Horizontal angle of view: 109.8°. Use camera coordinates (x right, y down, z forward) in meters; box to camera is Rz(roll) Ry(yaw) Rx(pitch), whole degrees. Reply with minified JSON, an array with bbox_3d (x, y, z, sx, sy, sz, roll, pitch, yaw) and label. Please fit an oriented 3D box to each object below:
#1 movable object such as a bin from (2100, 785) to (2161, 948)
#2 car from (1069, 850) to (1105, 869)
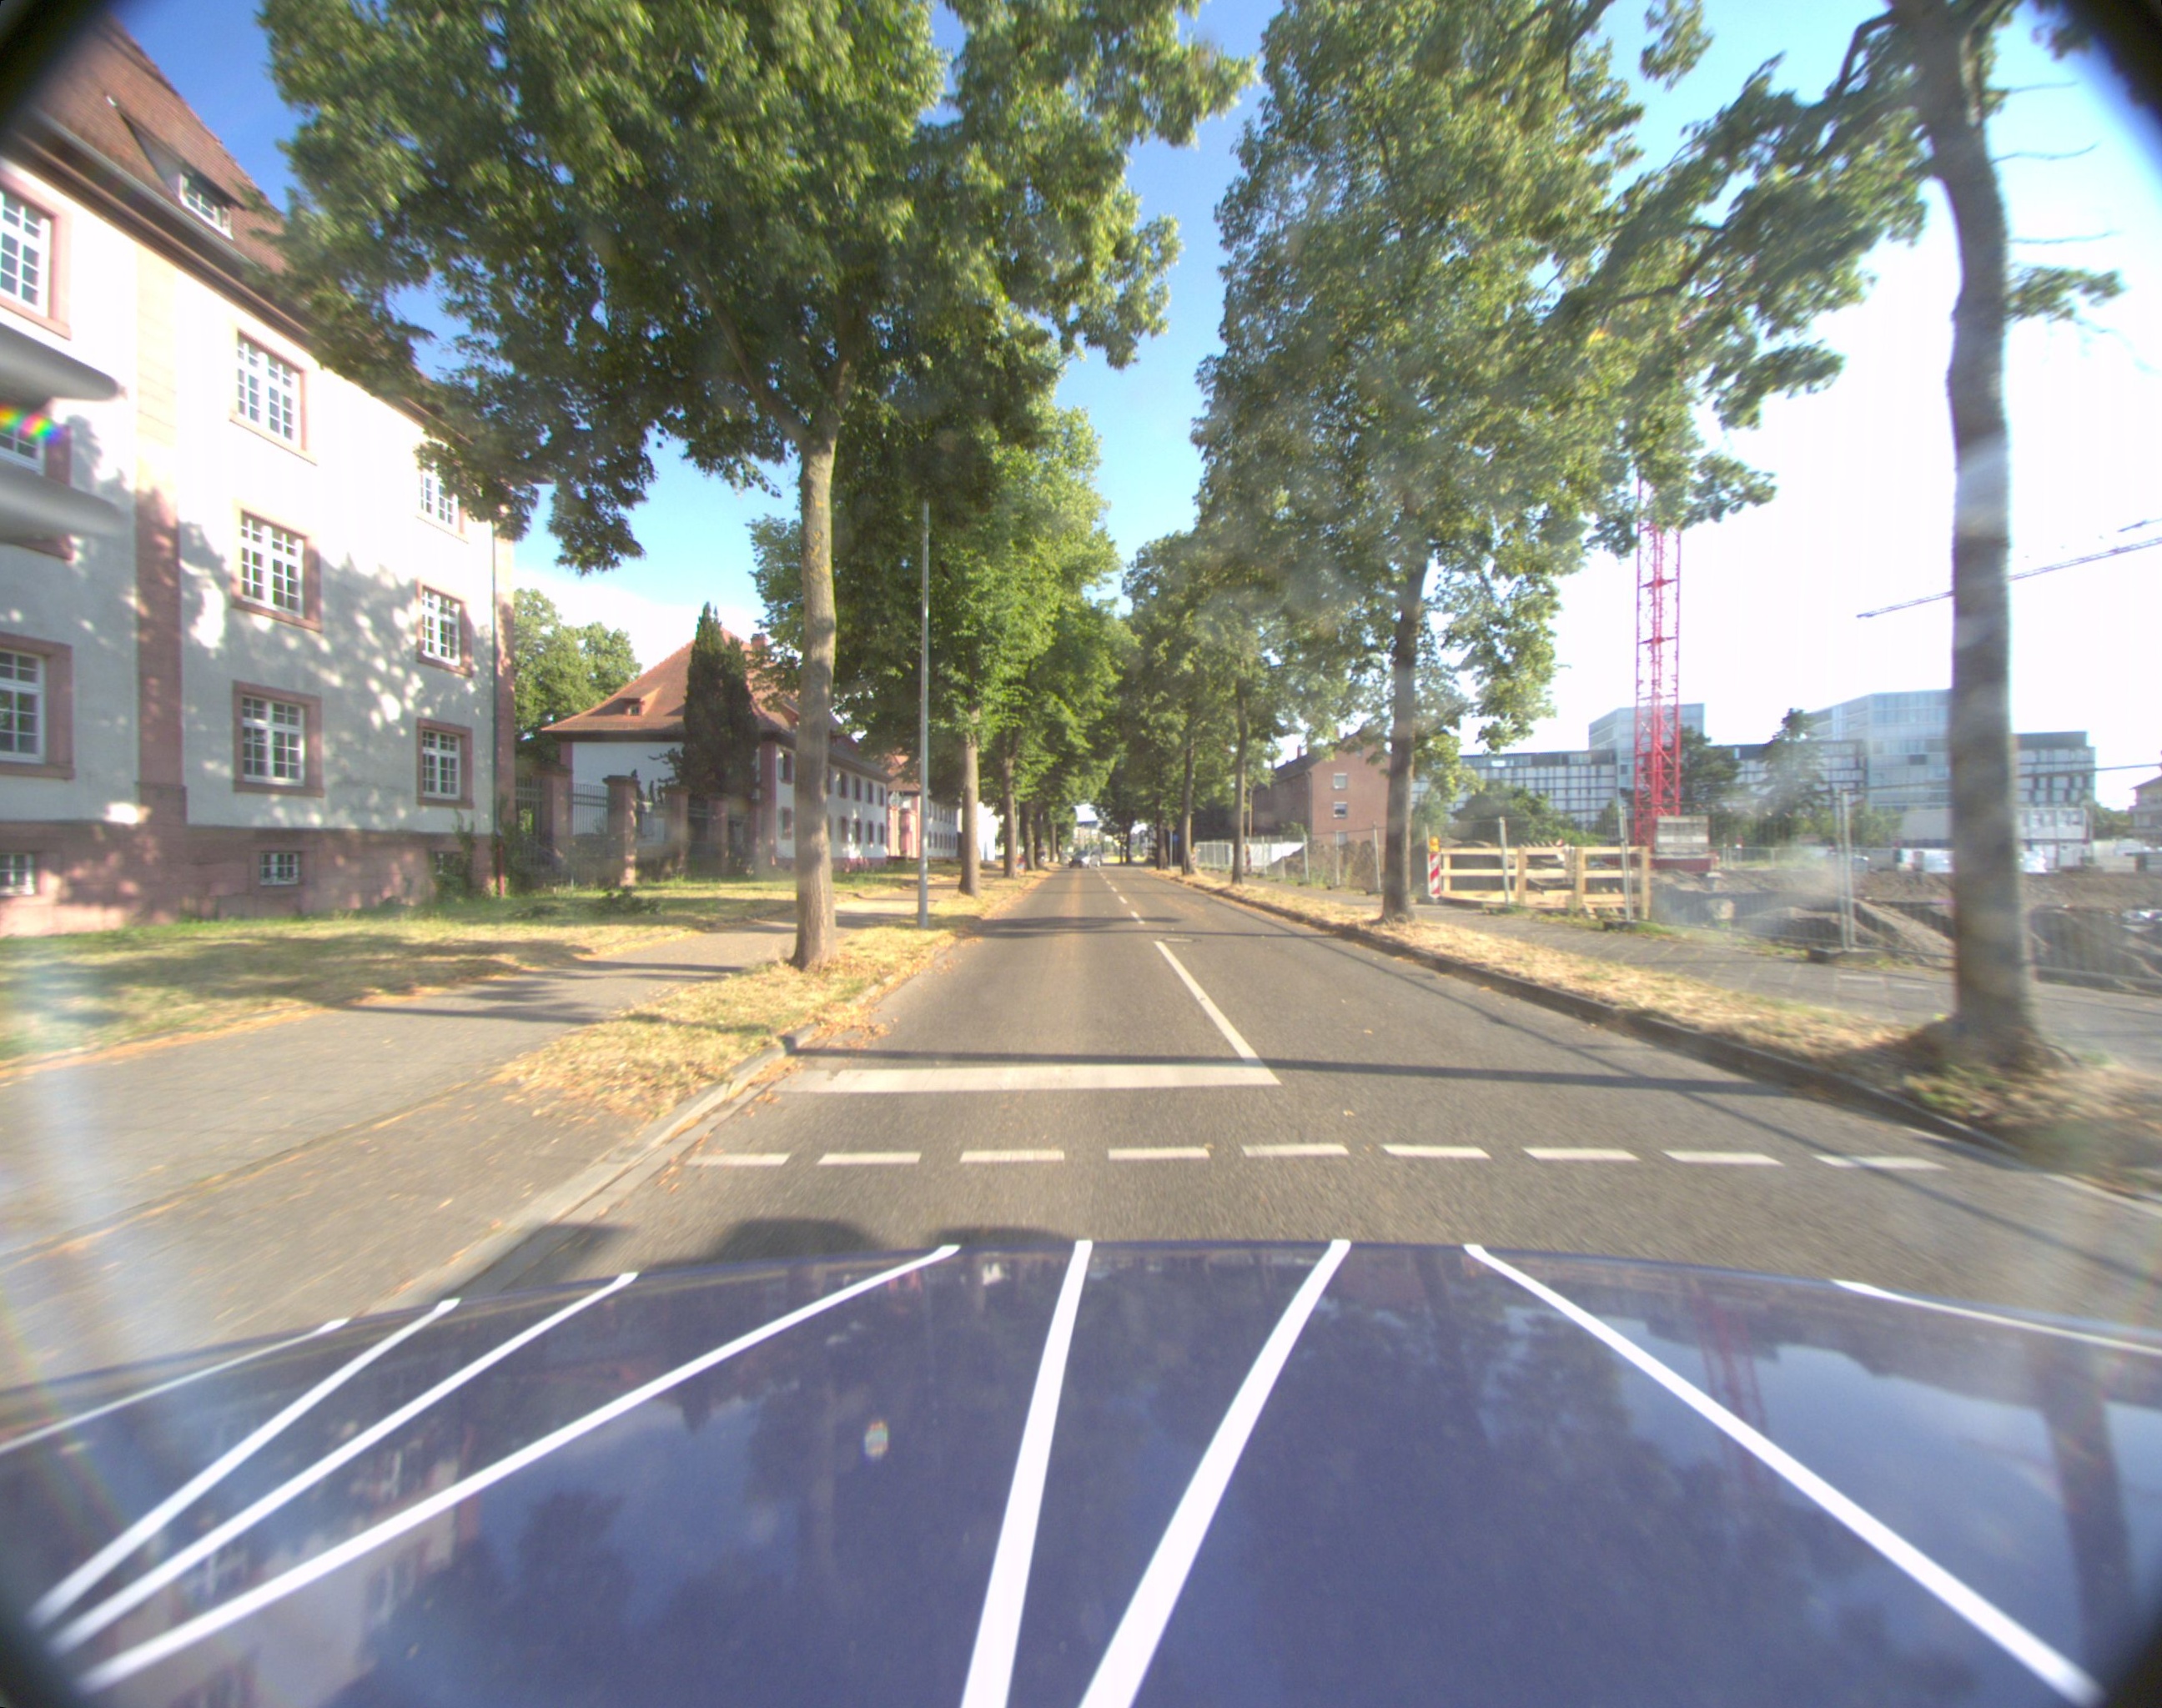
[{"bbox_3d":[34.837,0.462,18.722,4.095,5.035,12.226,-2,2,8],"label":"movable object such as a bin"},{"bbox_3d":[0.512,0.432,60.927,1.773,1.492,3.678,-1,0,18],"label":"car"}]
